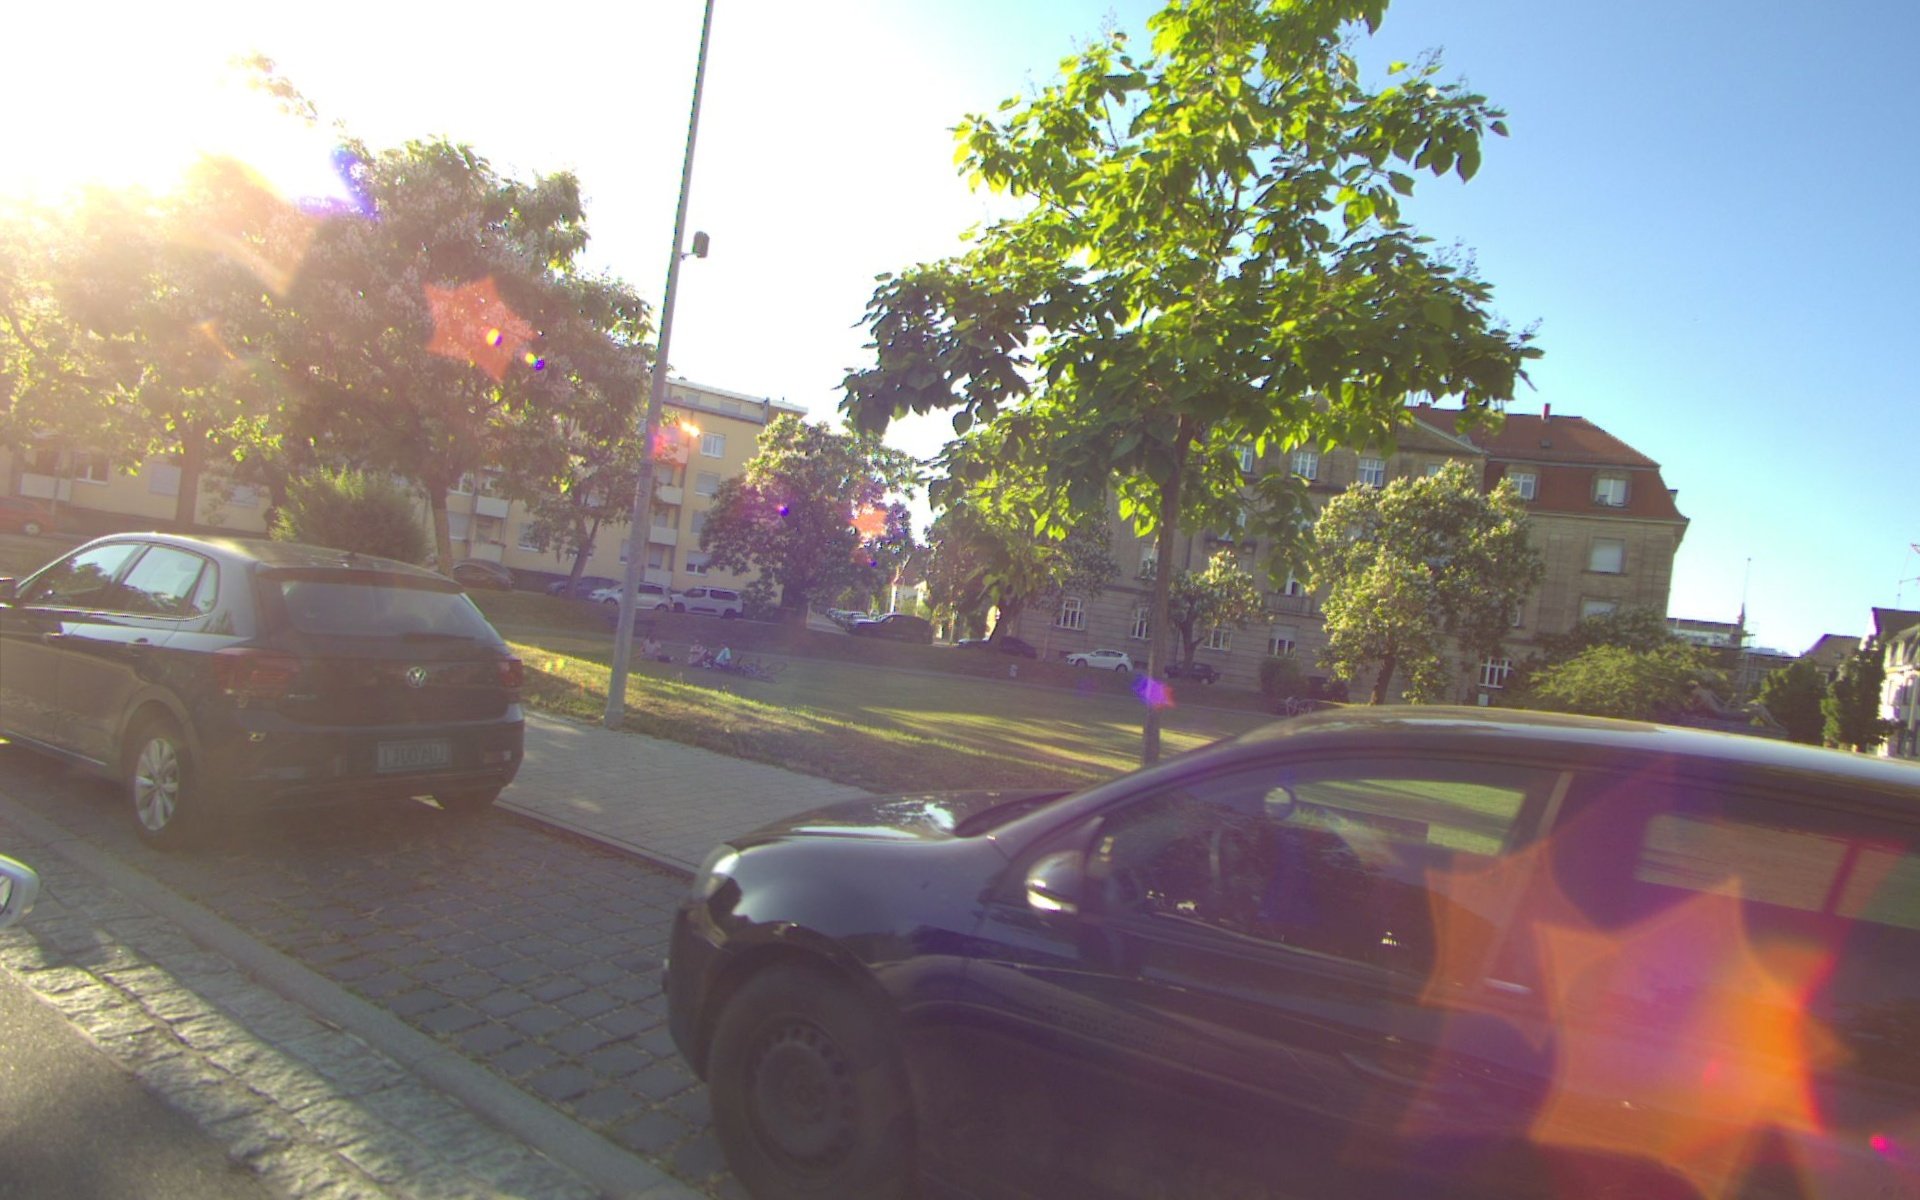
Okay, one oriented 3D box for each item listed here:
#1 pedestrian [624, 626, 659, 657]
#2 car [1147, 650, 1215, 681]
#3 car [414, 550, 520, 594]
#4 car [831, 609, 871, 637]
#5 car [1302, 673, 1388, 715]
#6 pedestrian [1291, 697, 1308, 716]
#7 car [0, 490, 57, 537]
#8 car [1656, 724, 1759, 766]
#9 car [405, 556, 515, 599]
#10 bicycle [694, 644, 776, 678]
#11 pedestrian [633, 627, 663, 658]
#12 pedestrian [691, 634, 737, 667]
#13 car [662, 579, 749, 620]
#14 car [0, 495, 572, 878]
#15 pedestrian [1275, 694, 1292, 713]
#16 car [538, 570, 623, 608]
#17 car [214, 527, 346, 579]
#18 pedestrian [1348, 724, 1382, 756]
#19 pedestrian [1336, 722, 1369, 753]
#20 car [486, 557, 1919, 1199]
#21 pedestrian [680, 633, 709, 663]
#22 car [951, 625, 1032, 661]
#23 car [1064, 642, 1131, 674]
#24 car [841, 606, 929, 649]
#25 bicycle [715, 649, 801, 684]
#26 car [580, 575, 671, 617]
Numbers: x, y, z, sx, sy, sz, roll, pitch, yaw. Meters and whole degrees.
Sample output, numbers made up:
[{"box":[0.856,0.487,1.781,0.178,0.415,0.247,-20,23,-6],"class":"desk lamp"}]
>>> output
[{"box":[-9.793,1.274,30.914,0.712,0.822,0.612,7,-2,33],"class":"pedestrian"},{"box":[14.187,4.197,64.654,3.924,1.470,1.882,7,-1,5],"class":"car"},{"box":[-25.384,-1.439,51.864,4.494,1.588,1.860,8,-1,-40],"class":"car"},{"box":[-8.229,1.709,75.721,1.611,1.668,4.224,7,-1,-25],"class":"car"},{"box":[21.702,5.300,56.829,3.925,1.725,2.002,8,-2,4],"class":"car"},{"box":[16.129,5.054,47.808,0.655,0.803,0.587,7,-1,20],"class":"pedestrian"},{"box":[-37.906,-3.566,38.776,1.969,1.548,4.198,7,-2,35],"class":"car"},{"box":[38.926,7.512,52.486,4.028,1.434,1.816,7,-1,32],"class":"car"},{"box":[-22.876,-1.030,46.101,4.176,1.373,1.675,8,-1,-38],"class":"car"},{"box":[-6.538,1.770,29.192,1.756,0.622,1.796,9,-2,-34],"class":"bicycle"},{"box":[-9.204,1.260,29.637,0.602,0.822,0.473,7,-1,33],"class":"pedestrian"},{"box":[-7.466,1.535,30.530,1.240,0.822,0.573,9,-1,-13],"class":"pedestrian"},{"box":[-14.727,-0.012,58.186,4.468,1.766,1.870,8,-1,-24],"class":"car"},{"box":[-4.474,0.288,5.943,4.176,1.481,1.630,7,-1,28],"class":"car"},{"box":[15.480,4.956,48.150,0.655,0.803,0.587,7,-1,20],"class":"pedestrian"},{"box":[-20.634,-0.589,54.754,3.958,1.470,1.866,8,-1,-31],"class":"car"},{"box":[-27.886,-1.910,41.350,4.183,1.480,1.672,9,-2,-43],"class":"car"},{"box":[12.178,4.213,30.264,0.578,0.803,0.666,7,-1,-11],"class":"pedestrian"},{"box":[12.066,4.215,30.940,0.578,0.803,0.666,7,-1,-11],"class":"pedestrian"},{"box":[1.007,0.944,2.560,4.348,1.569,1.735,7,-1,30],"class":"car"},{"box":[-8.223,1.496,31.139,0.602,0.822,0.473,7,-1,33],"class":"pedestrian"},{"box":[1.787,2.462,57.726,4.292,1.470,1.879,8,-1,-7],"class":"car"},{"box":[8.804,3.720,64.591,3.926,1.470,1.881,7,-1,0],"class":"car"},{"box":[-4.179,1.529,55.862,4.456,1.766,1.875,8,-1,-15],"class":"car"},{"box":[-5.663,1.857,28.139,1.756,0.622,1.796,9,-2,-34],"class":"bicycle"},{"box":[-16.679,-0.200,50.246,3.959,1.570,1.597,8,-1,-31],"class":"car"}]
